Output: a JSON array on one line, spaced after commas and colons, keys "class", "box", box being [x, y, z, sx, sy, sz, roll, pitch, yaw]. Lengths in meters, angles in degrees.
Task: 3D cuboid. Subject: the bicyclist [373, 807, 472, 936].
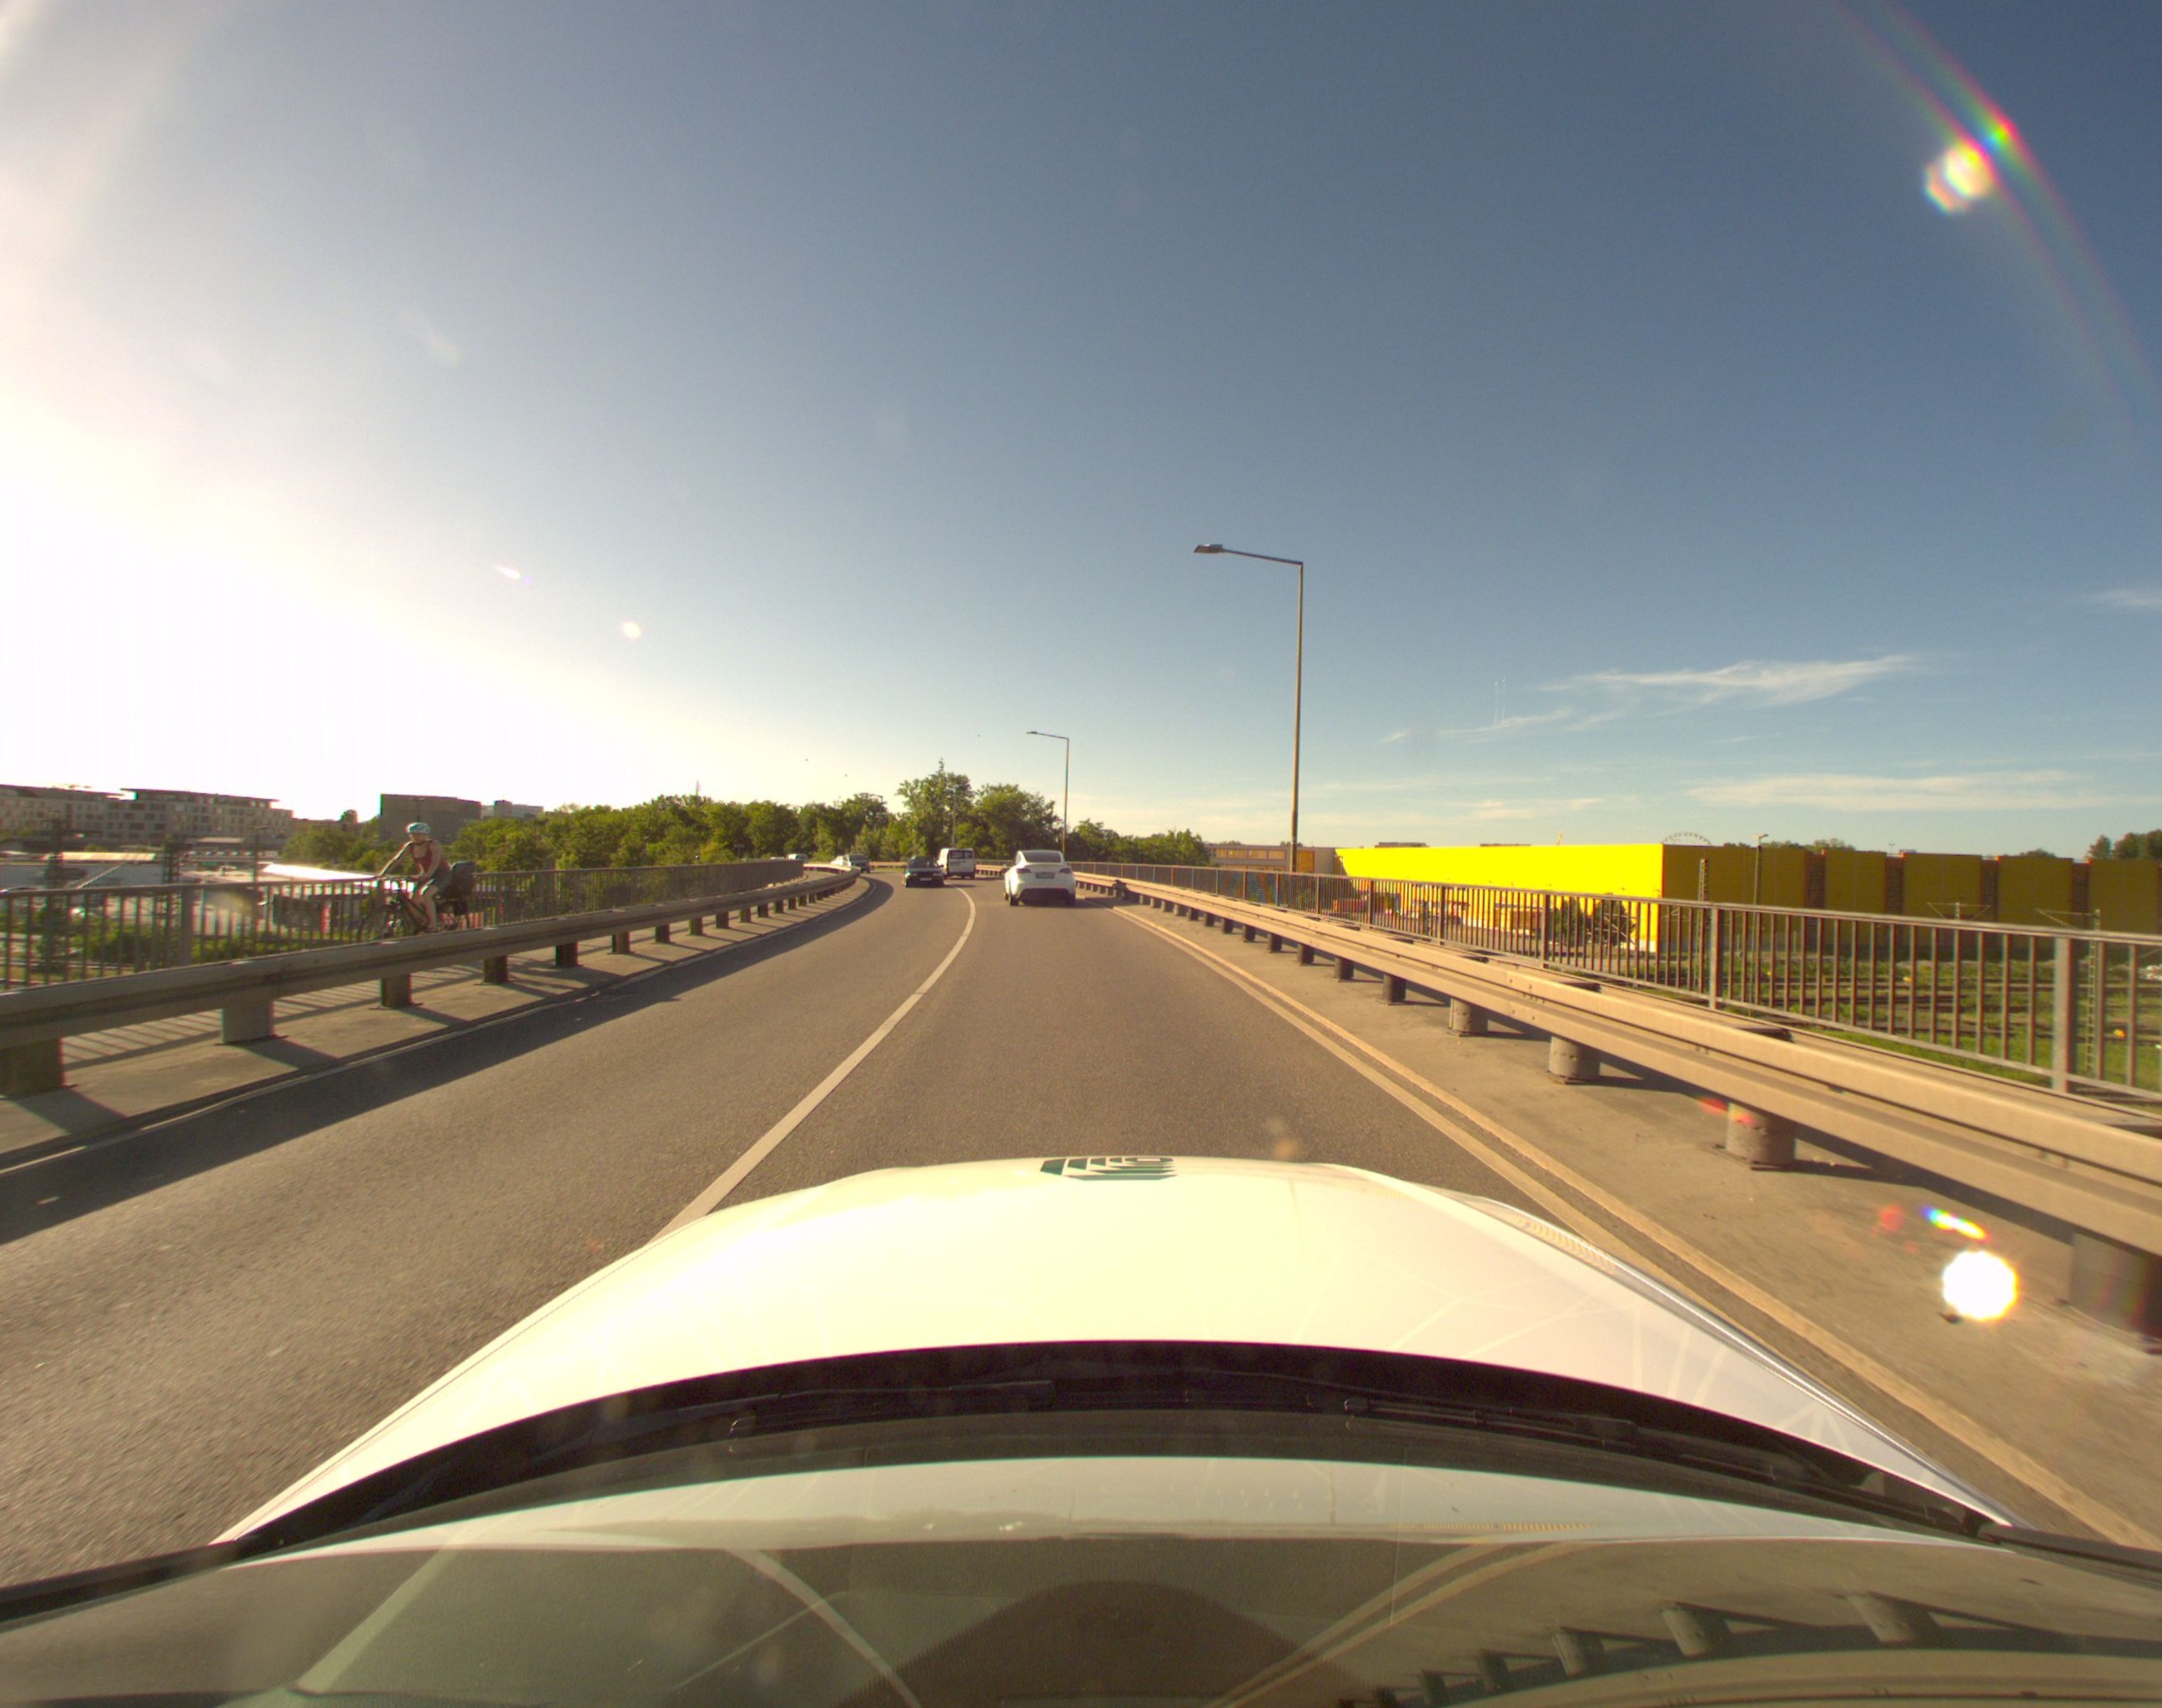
[{"class": "bicyclist", "box": [-8.464, 0.216, 10.497, 0.652, 1.589, 0.767, -1, 0, -4]}]

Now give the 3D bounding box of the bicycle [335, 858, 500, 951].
[{"class": "bicycle", "box": [-8.459, 0.601, 10.500, 0.652, 1.065, 1.888, -1, 0, -4]}]

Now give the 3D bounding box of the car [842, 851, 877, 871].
[{"class": "car", "box": [-18.433, 0.560, 67.549, 1.860, 1.623, 4.063, -1, 0, -30]}]

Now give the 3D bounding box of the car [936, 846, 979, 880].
[{"class": "car", "box": [-7.581, 0.505, 49.674, 2.010, 1.940, 4.441, -1, 0, -17]}]

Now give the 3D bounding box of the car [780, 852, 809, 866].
[{"class": "car", "box": [-34.811, 0.606, 98.937, 1.852, 1.555, 3.845, -1, 0, -44]}]

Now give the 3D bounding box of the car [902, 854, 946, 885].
[{"class": "car", "box": [-7.393, 0.696, 38.173, 1.748, 1.355, 4.161, -1, 0, -15]}]

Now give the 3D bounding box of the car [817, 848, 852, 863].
[{"class": "car", "box": [-26.190, 0.184, 86.525, 3.865, 1.585, 1.877, 0, 0, 43]}]

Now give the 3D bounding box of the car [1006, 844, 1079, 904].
[{"class": "car", "box": [-1.258, 0.565, 24.824, 1.983, 1.638, 4.053, -1, 0, -6]}]

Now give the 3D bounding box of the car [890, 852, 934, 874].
[{"class": "car", "box": [-13.440, 0.714, 64.591, 1.983, 1.638, 3.958, -1, 0, -34]}]
